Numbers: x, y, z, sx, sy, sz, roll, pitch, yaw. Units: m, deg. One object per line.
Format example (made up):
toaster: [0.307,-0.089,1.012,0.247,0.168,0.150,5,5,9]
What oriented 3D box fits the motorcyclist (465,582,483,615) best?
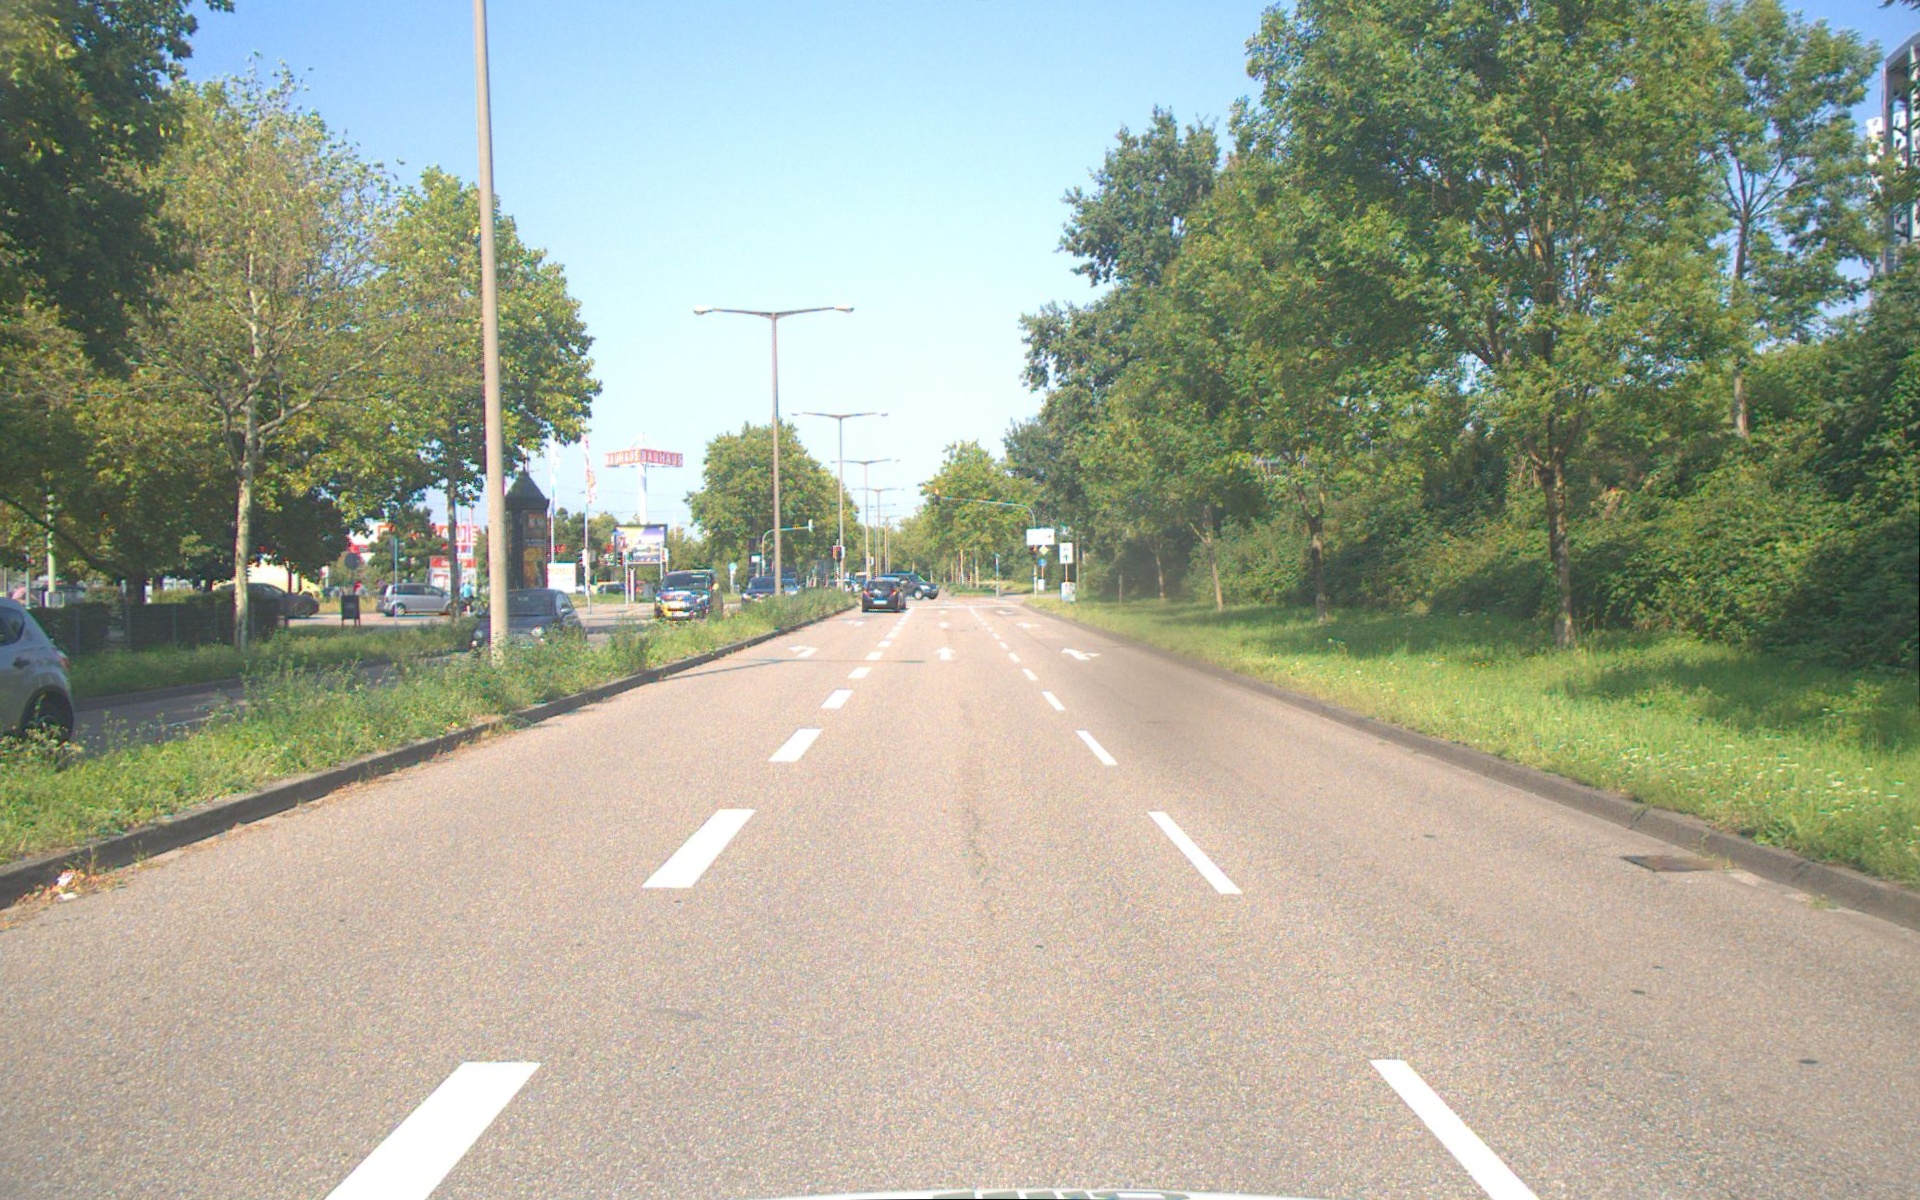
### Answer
motorcyclist: [-23.749,-0.055,80.851,0.676,1.599,0.675,0,0,-37]

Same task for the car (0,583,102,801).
car: [-8.068,0.713,11.727,1.841,1.621,4.108,-1,0,-1]

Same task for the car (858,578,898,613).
car: [-3.680,-0.203,74.966,1.657,1.512,3.999,0,0,-1]

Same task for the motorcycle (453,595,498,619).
motorcycle: [-23.693,0.350,80.888,2.053,1.156,0.669,-1,0,-37]

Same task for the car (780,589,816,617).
car: [-9.399,0.174,96.059,1.737,1.601,4.000,0,0,0]

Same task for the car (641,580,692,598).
car: [-21.013,-0.799,118.495,3.303,1.156,1.494,-2,0,7]

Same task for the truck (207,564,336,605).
truck: [-54.878,-1.282,131.938,8.918,3.009,3.468,-2,1,-37]

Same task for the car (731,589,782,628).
car: [-9.591,0.356,78.140,1.953,1.735,4.503,-1,0,-2]

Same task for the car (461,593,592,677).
car: [-8.190,0.625,31.521,1.642,1.512,3.492,0,0,-2]

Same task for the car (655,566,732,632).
car: [-8.793,-0.047,54.914,1.893,2.063,4.565,-1,0,-2]

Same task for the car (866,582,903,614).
car: [-3.680,-0.120,81.244,1.657,1.511,3.999,-1,0,-1]

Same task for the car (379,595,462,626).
car: [-26.678,0.498,81.855,3.663,1.468,1.447,0,0,-37]

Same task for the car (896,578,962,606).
car: [-2.146,-0.549,114.401,4.176,1.868,1.914,-1,0,17]
